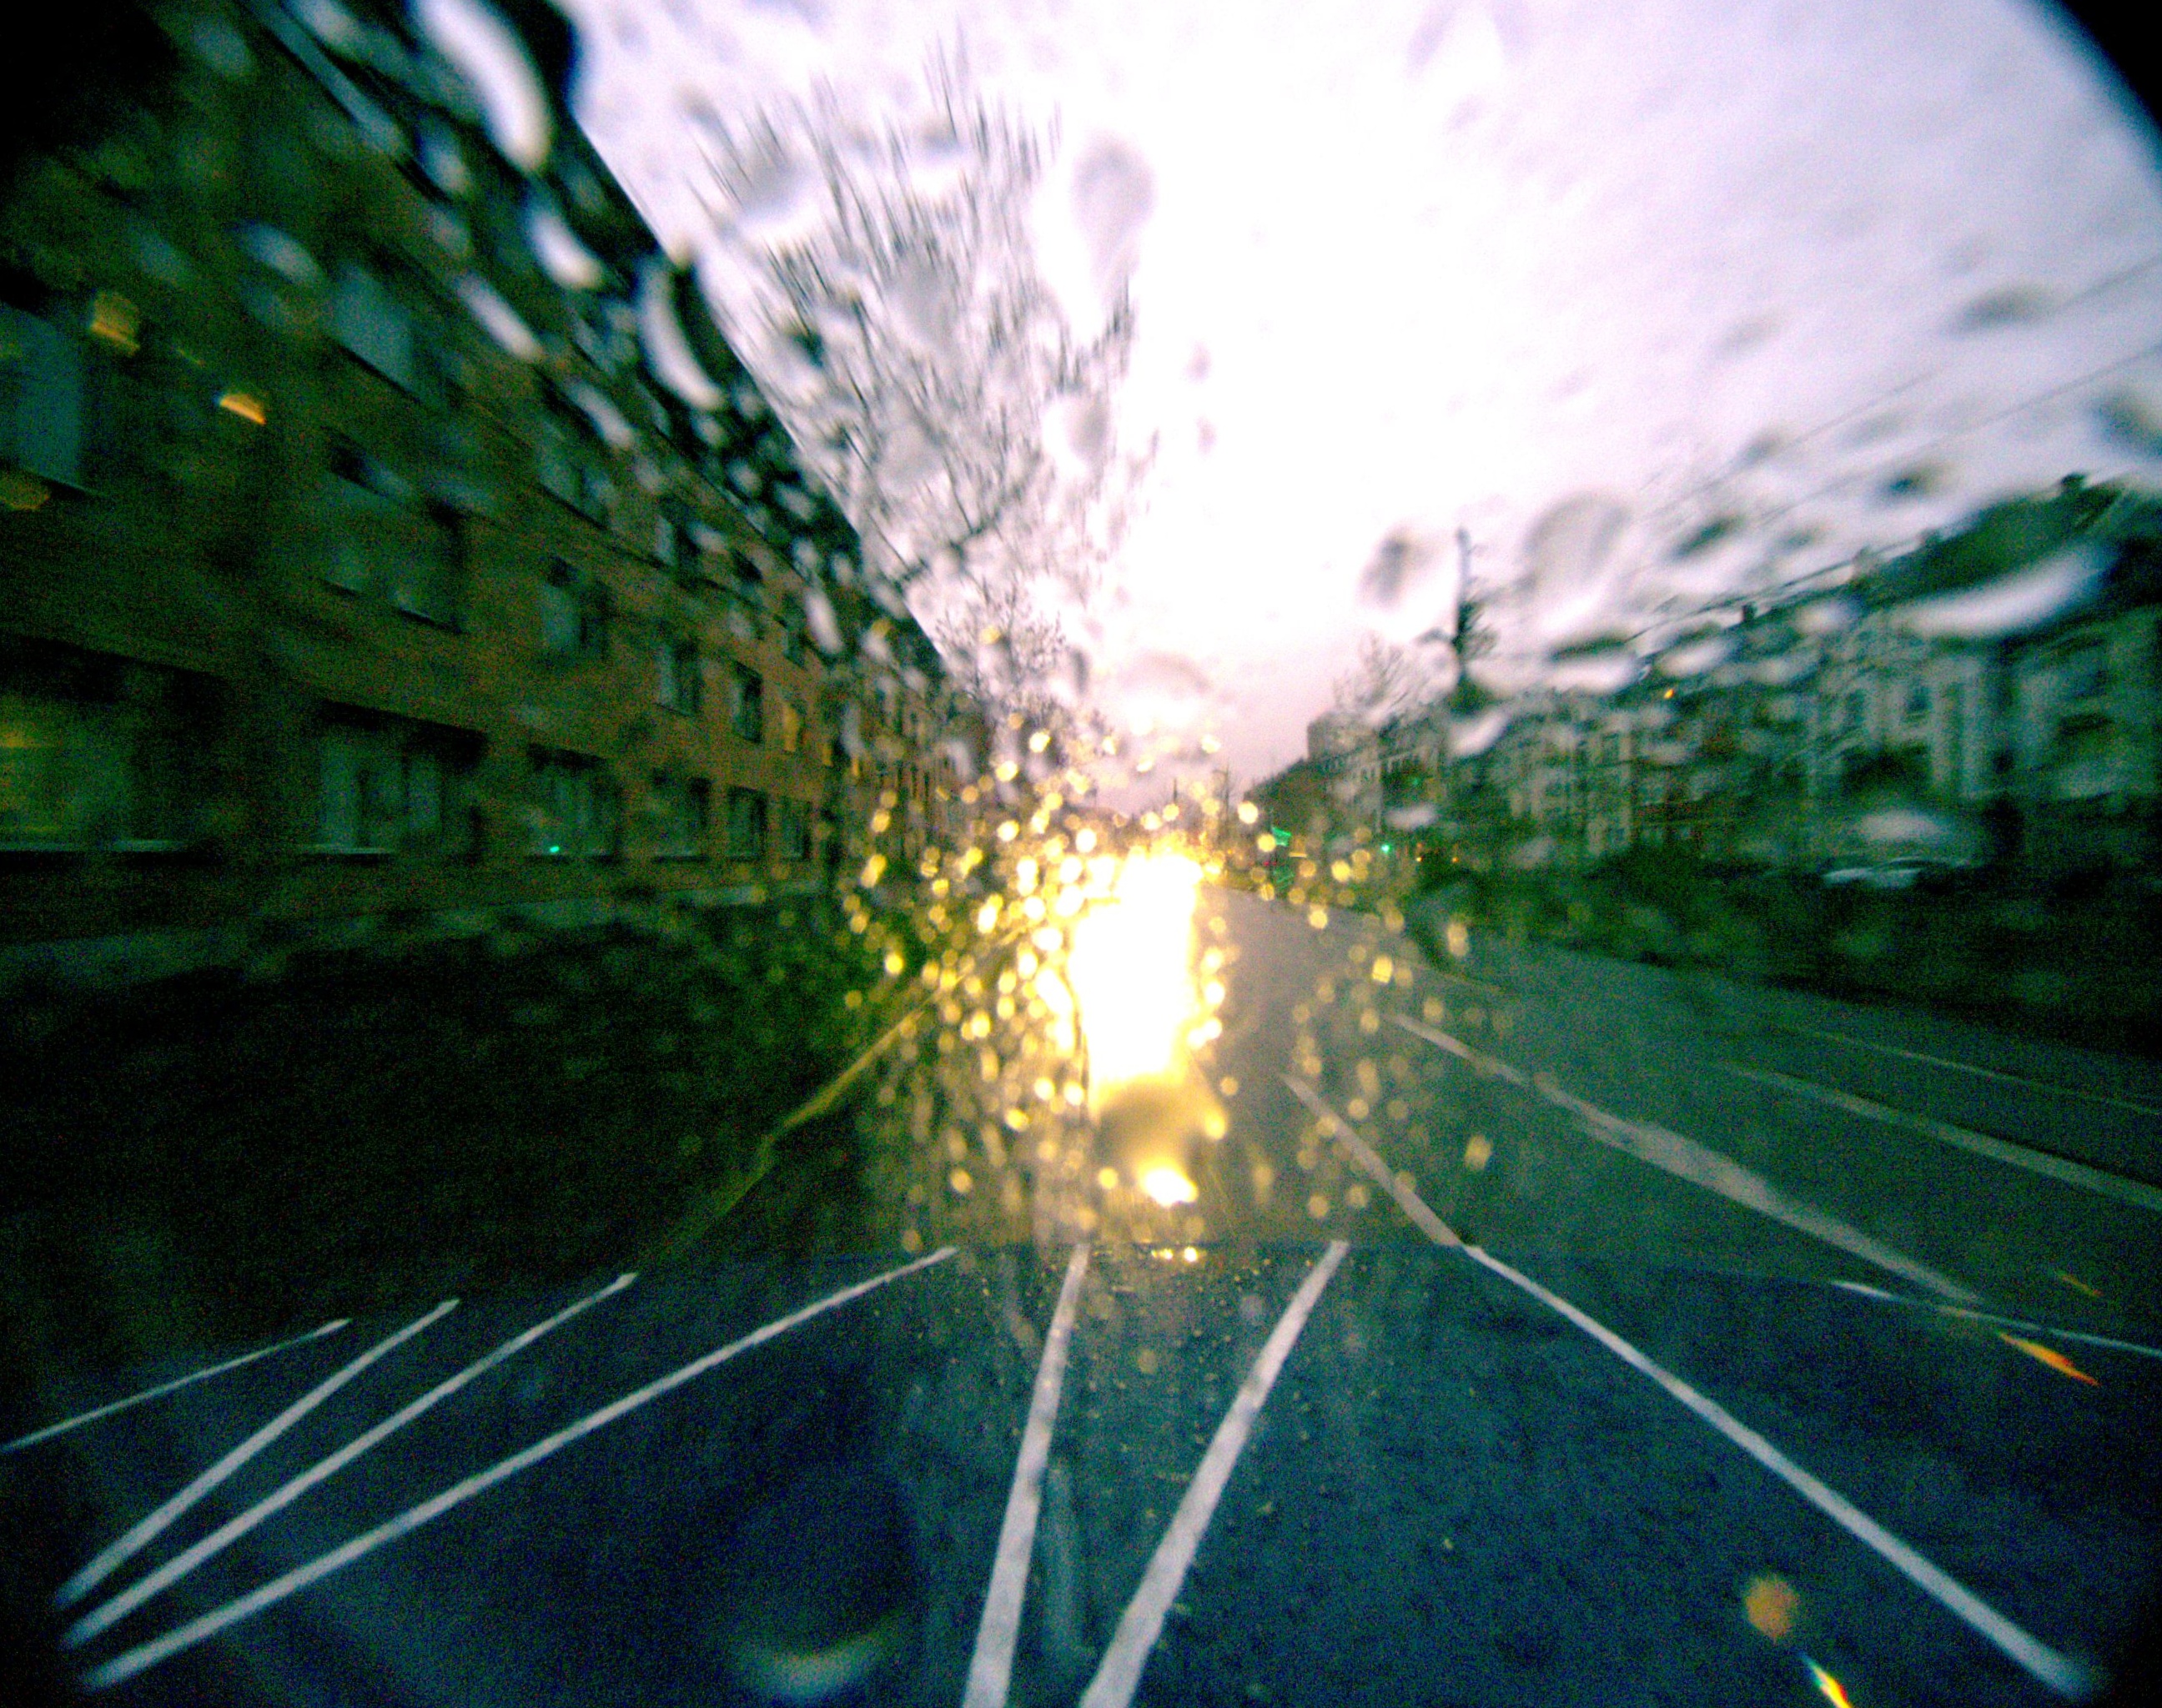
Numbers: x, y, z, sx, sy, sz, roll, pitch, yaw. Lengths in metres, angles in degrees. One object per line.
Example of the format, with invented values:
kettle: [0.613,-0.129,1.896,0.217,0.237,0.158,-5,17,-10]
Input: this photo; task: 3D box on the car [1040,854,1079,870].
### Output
car: [-2.231,0.851,80.098,3.996,1.546,1.742,1,0,1]

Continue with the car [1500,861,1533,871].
car: [48.324,1.290,84.311,2.897,1.069,1.331,0,0,0]

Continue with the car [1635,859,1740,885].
car: [30.219,0.868,37.982,3.988,1.162,2.004,0,0,38]

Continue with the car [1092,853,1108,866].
car: [2.575,0.719,103.907,1.998,1.693,4.000,0,0,0]

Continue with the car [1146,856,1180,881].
car: [5.457,0.941,50.956,1.814,1.487,4.053,-2,0,1]

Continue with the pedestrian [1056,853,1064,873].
pedestrian: [-1.994,0.841,71.212,0.506,1.814,0.656,0,1,-25]

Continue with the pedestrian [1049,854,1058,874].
pedestrian: [-2.511,0.913,68.863,0.506,1.732,0.656,0,1,-32]

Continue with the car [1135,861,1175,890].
car: [4.015,1.149,41.840,1.814,1.384,4.053,-2,0,1]

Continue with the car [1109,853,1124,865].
car: [5.239,0.762,112.427,1.999,1.745,4.000,0,0,0]

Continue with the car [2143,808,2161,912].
car: [31.326,0.151,18.625,5.850,2.781,2.004,0,0,42]

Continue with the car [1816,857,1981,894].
car: [31.233,0.766,29.236,3.988,1.324,2.004,0,0,35]

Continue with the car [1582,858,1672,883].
car: [30.610,0.879,42.669,3.988,1.324,2.004,0,0,36]

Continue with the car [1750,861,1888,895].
car: [31.505,0.993,32.615,3.988,1.324,2.004,0,0,36]
